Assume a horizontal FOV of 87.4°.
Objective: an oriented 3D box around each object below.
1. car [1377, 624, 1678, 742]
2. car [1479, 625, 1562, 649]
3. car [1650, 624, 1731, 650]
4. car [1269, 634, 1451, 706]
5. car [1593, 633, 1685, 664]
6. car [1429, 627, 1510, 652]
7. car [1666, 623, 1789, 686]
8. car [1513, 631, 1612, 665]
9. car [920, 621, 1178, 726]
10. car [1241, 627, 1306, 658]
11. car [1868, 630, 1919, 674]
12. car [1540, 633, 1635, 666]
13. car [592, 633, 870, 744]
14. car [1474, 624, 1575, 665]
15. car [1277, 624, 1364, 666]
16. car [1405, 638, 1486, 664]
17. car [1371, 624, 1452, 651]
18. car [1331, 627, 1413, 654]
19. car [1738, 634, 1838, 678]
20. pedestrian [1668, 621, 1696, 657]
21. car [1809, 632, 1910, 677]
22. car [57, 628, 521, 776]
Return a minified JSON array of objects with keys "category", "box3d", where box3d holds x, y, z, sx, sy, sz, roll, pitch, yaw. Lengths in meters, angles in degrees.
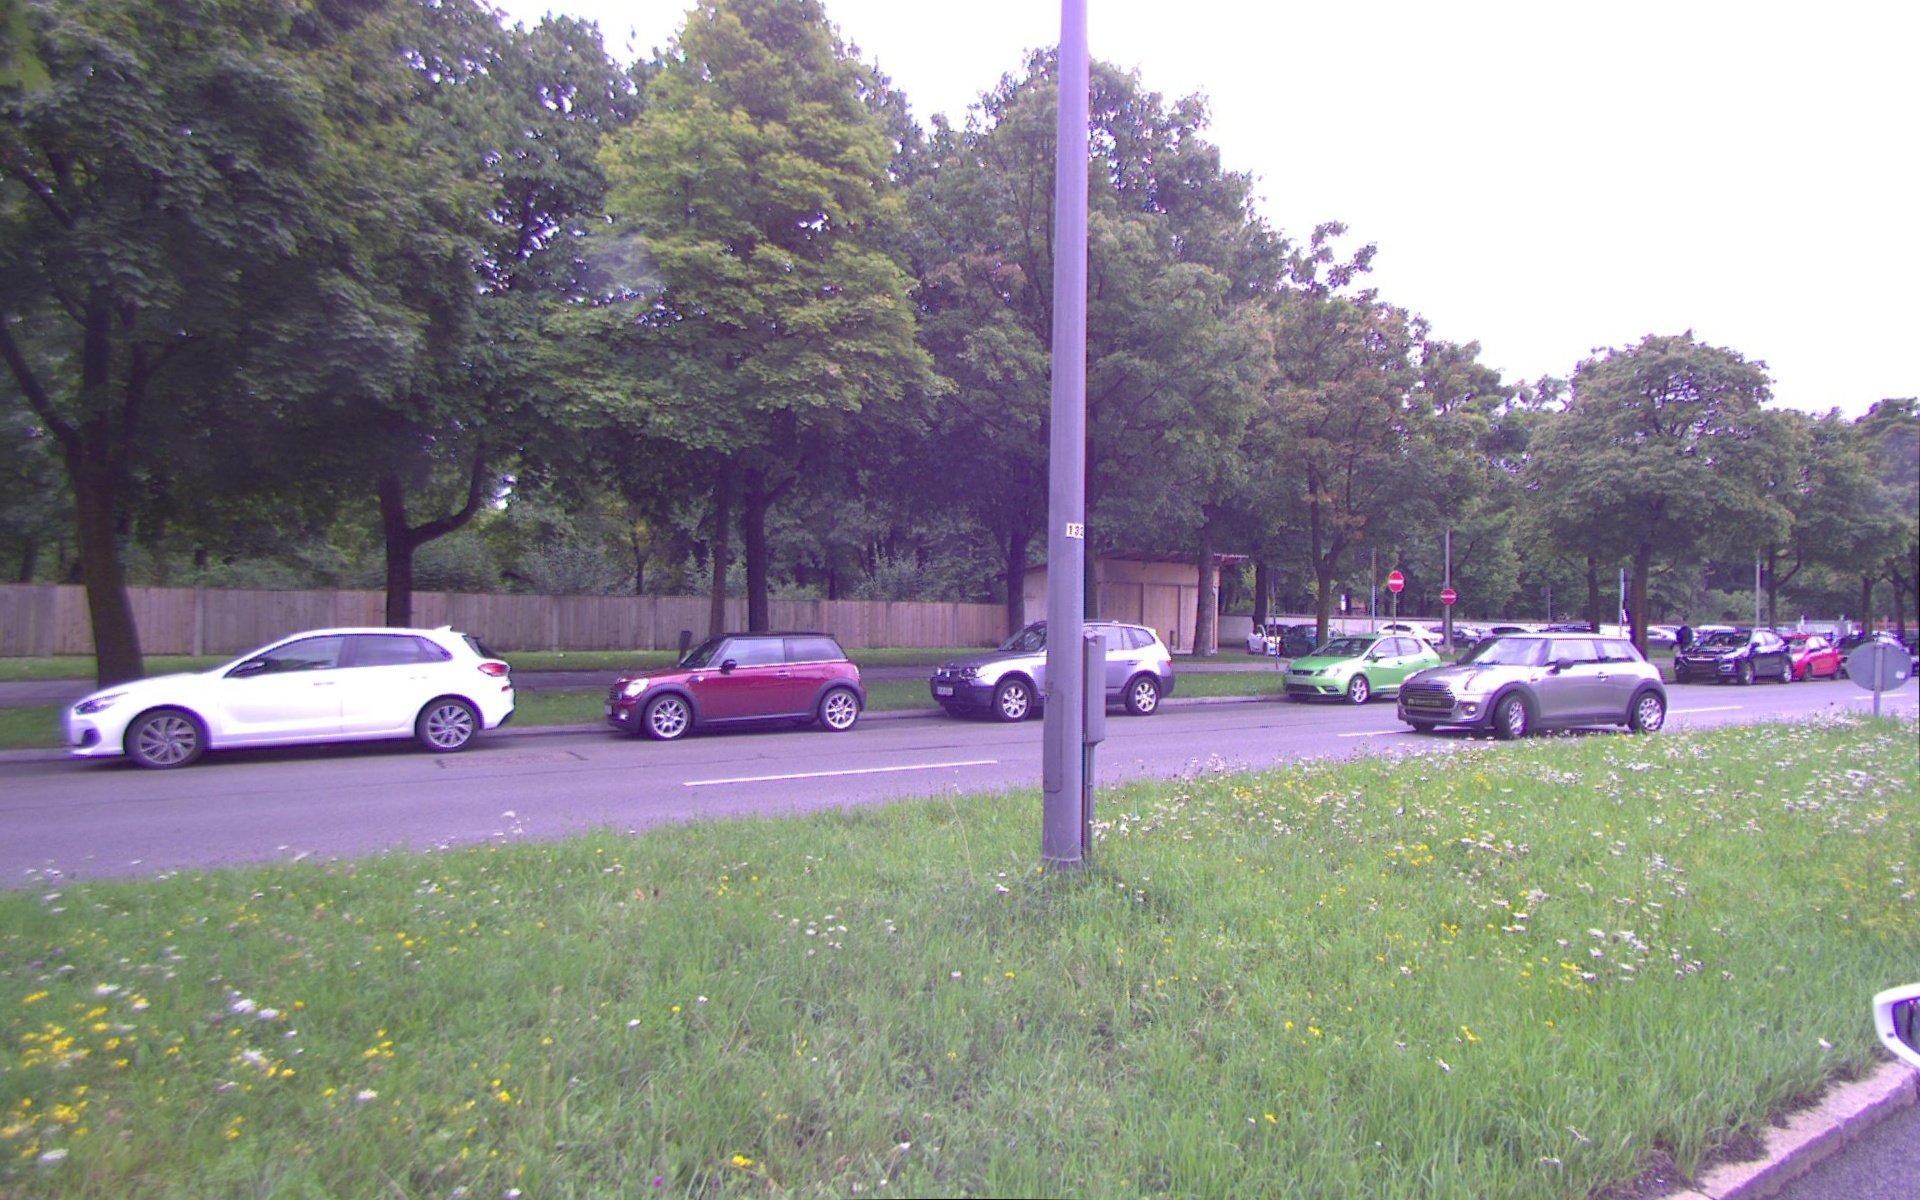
[{"category":"car","box3d":[8.034,1.118,14.293,3.674,1.482,1.681,1,0,-17]},{"category":"car","box3d":[37.732,2.475,67.741,1.653,1.465,4.669,2,0,-29]},{"category":"car","box3d":[46.116,2.325,63.455,1.656,1.465,3.840,2,0,-35]},{"category":"car","box3d":[8.622,1.457,21.606,3.831,1.428,1.541,1,-2,-29]},{"category":"car","box3d":[37.093,2.640,54.917,1.656,1.465,3.840,2,0,-35]},{"category":"car","box3d":[33.757,2.610,66.656,1.653,1.465,4.669,2,0,-29]},{"category":"car","box3d":[23.223,1.616,30.372,3.835,1.764,1.707,2,0,-32]},{"category":"car","box3d":[29.702,2.323,49.607,1.656,1.465,3.840,2,0,-35]},{"category":"car","box3d":[1.587,1.197,17.324,4.322,1.607,1.682,1,-2,-32]},{"category":"car","box3d":[14.149,1.889,45.619,1.639,1.217,4.421,2,0,1]},{"category":"car","box3d":[36.472,1.971,38.399,3.836,1.579,1.582,2,0,-32]},{"category":"car","box3d":[32.579,2.541,52.201,1.656,1.465,3.840,2,0,-35]},{"category":"car","box3d":[-3.240,1.179,14.346,3.586,1.415,1.584,1,-2,-29]},{"category":"car","box3d":[26.966,2.093,48.067,1.656,1.740,3.892,2,0,-35]},{"category":"car","box3d":[14.257,1.729,39.951,1.922,1.465,4.421,2,0,1]},{"category":"car","box3d":[31.618,3.292,65.573,1.653,1.465,4.669,2,0,-29]},{"category":"car","box3d":[28.220,2.350,62.890,1.653,1.496,4.485,2,0,-29]},{"category":"car","box3d":[25.510,2.503,62.360,1.652,1.465,4.671,2,0,-28]},{"category":"car","box3d":[27.437,1.829,33.271,3.343,1.329,1.582,2,0,-32]},{"category":"pedestrian","box3d":[31.641,1.696,44.012,0.712,1.554,0.724,1,0,-30]},{"category":"car","box3d":[31.887,1.904,35.589,3.836,1.465,1.658,2,0,-32]},{"category":"car","box3d":[-7.524,1.070,11.743,4.230,1.463,1.599,1,-2,-31]}]
